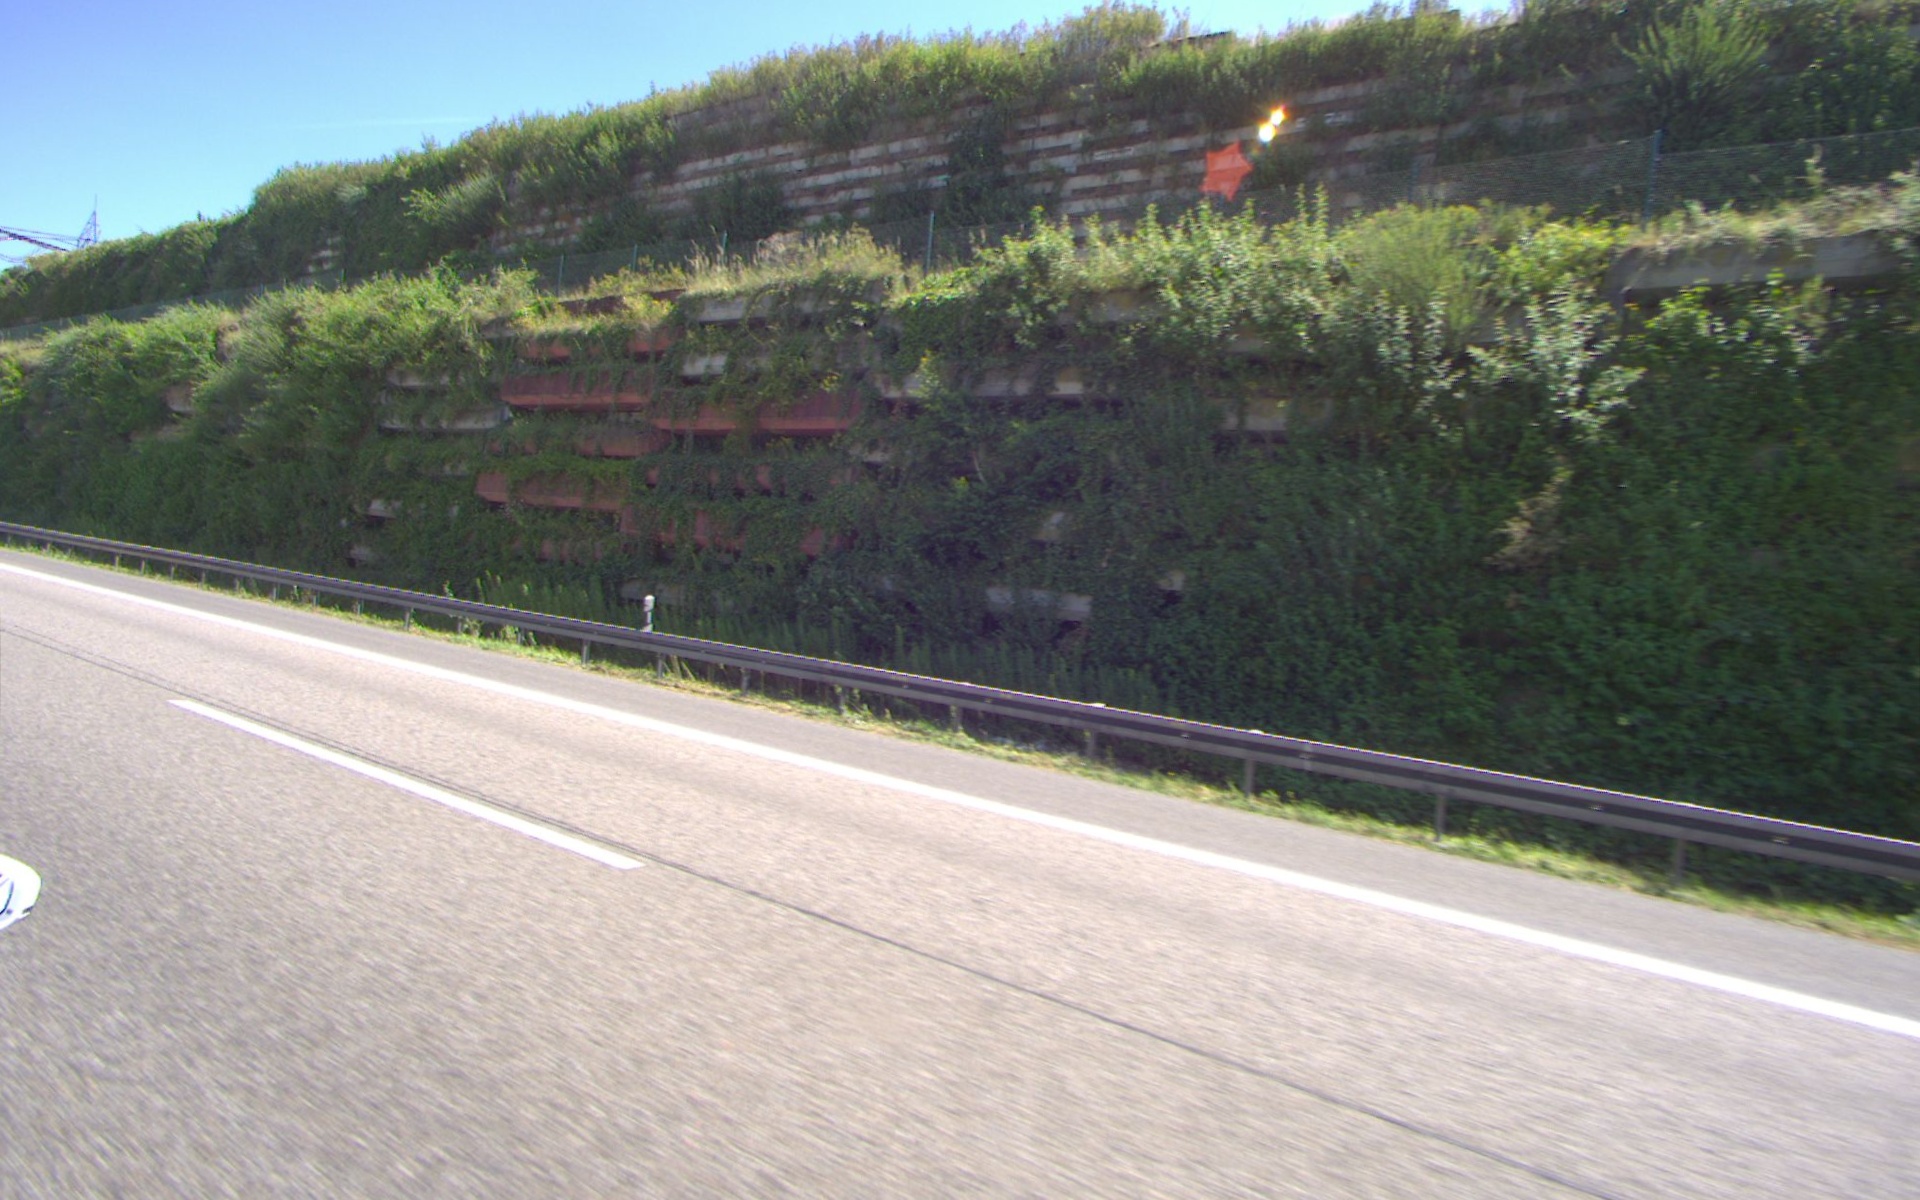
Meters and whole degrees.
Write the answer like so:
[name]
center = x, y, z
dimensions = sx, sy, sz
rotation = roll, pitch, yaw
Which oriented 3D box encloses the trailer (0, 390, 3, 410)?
[trailer]
center = -27.219, -3.343, 24.423
dimensions = 12.164, 4.107, 2.642
rotation = 7, -2, 33
